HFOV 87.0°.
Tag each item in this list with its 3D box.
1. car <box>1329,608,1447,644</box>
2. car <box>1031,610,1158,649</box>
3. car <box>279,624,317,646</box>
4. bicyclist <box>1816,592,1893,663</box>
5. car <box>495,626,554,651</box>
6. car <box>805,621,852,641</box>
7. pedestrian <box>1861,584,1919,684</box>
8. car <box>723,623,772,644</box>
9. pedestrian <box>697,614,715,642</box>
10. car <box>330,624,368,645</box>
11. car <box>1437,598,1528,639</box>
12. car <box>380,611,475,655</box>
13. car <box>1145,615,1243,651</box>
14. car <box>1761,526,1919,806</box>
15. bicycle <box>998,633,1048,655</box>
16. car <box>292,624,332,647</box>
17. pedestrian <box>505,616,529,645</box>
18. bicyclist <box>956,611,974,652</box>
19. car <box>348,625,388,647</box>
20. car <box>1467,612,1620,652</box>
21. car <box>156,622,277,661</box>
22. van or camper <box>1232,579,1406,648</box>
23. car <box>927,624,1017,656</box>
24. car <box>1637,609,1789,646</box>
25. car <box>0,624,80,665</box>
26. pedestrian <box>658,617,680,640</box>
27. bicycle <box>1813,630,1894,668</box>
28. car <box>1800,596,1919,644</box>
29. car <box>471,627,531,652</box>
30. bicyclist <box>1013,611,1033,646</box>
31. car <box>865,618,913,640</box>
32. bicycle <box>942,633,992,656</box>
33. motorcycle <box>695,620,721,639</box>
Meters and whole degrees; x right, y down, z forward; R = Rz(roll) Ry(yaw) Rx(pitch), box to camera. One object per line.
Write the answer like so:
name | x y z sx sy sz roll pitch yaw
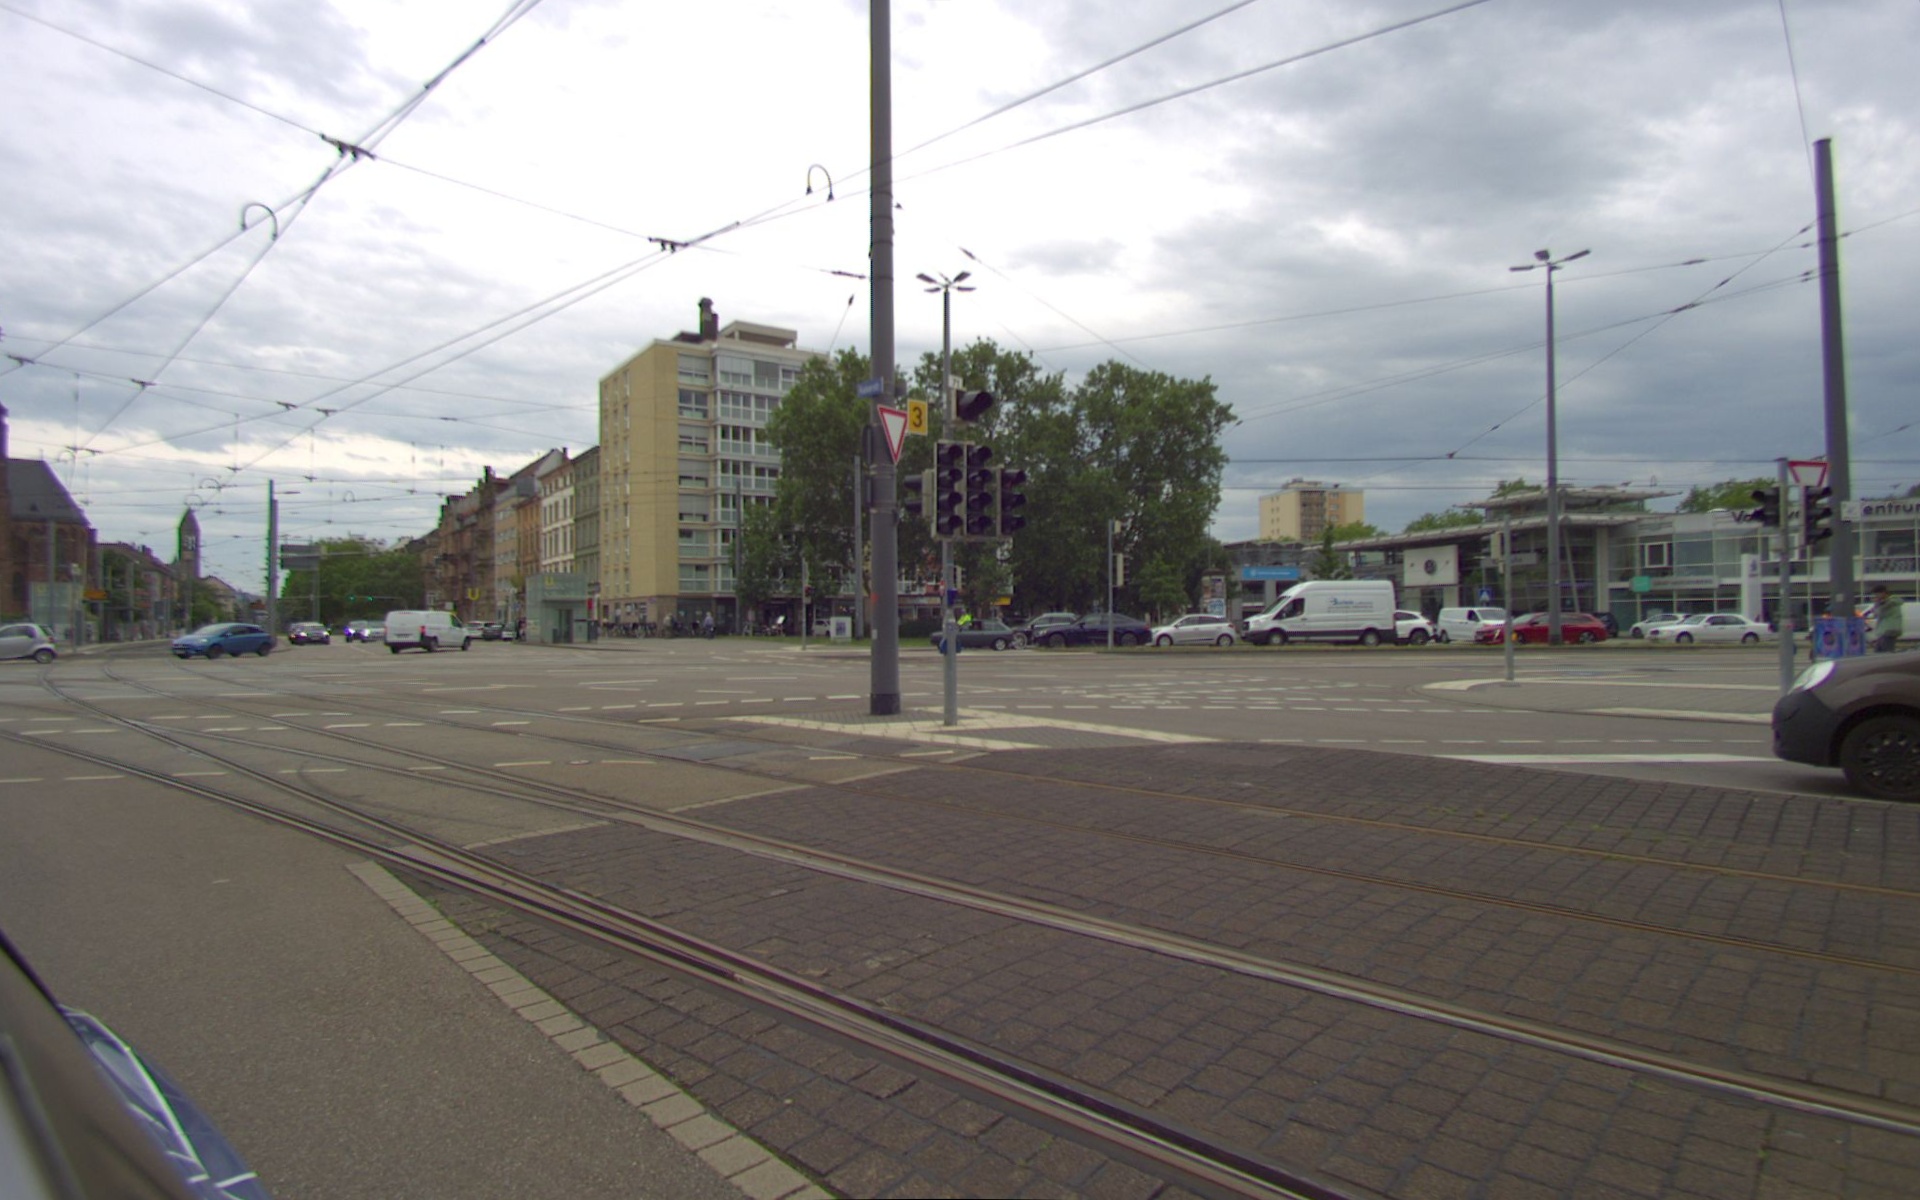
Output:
car | 18.070 1.094 42.840 4.211 1.431 1.640 -1 -1 0
car | 5.230 1.151 39.740 4.593 1.431 2.001 -1 -1 -3
car | -47.976 2.508 73.334 1.968 1.541 4.008 0 -1 -38
bicyclist | 21.230 0.647 24.024 1.299 1.633 0.832 0 -2 -22
car | -33.319 2.954 77.514 2.066 1.768 3.973 0 0 20
car | -10.527 2.500 80.846 1.968 1.564 4.008 0 -2 -38
pedestrian | 16.754 0.595 17.956 0.592 1.741 0.915 0 -1 -22
car | -15.968 2.517 75.941 1.968 1.564 4.008 0 -2 -38
pedestrian | -15.866 1.722 63.133 0.915 1.732 0.697 -1 -1 43
car | -46.361 2.598 76.797 1.968 1.541 4.008 0 -1 -38
car | 27.356 0.934 53.146 2.090 2.029 4.784 0 0 -3
car | -24.819 1.500 47.371 1.896 1.896 5.090 0 0 -2
car | 9.853 1.368 42.763 3.682 1.431 1.641 -1 -1 -3
car | 8.086 0.424 6.504 1.669 1.915 4.391 0 -2 -43
bicycle | 2.792 1.958 45.227 2.193 0.933 0.520 -2 -1 2
car | -43.520 2.382 67.955 1.967 1.453 4.008 0 -2 -37
pedestrian | -28.442 1.948 65.025 1.162 1.798 1.042 0 -2 -40
bicyclist | 0.226 1.429 45.409 0.786 1.817 0.629 -1 -1 2
car | -41.248 2.483 70.511 1.967 1.453 4.008 0 -2 -37
car | 22.881 1.251 39.856 4.740 1.431 1.997 -1 -1 5
car | -32.301 1.788 44.110 1.977 1.504 4.047 -4 -2 9
van or camper | 14.110 0.519 40.078 5.963 2.630 2.424 0 0 -2
car | 0.473 1.678 43.047 3.682 1.256 1.693 -1 -1 -3
car | 31.573 1.142 42.568 4.693 1.431 1.996 -1 -1 7
car | -36.466 1.700 39.188 3.565 1.504 2.002 0 -1 -42
pedestrian | -20.629 2.026 71.732 1.024 1.652 1.334 0 -2 -39
bicycle | 21.196 1.145 24.000 2.037 0.855 0.560 0 -2 -22
car | 38.359 0.818 41.696 5.382 1.870 2.159 -1 -1 7
car | -35.716 3.043 78.896 2.066 1.768 3.973 0 0 20
bicyclist | 2.813 1.288 45.230 0.845 1.519 0.567 -2 -1 2
car | -5.782 2.344 82.050 1.968 1.719 4.007 0 0 -39
bicycle | 0.320 1.995 45.397 2.193 0.937 0.520 -2 -1 2
motorcycle | -16.367 1.909 65.676 0.850 1.187 2.554 0 0 -34
